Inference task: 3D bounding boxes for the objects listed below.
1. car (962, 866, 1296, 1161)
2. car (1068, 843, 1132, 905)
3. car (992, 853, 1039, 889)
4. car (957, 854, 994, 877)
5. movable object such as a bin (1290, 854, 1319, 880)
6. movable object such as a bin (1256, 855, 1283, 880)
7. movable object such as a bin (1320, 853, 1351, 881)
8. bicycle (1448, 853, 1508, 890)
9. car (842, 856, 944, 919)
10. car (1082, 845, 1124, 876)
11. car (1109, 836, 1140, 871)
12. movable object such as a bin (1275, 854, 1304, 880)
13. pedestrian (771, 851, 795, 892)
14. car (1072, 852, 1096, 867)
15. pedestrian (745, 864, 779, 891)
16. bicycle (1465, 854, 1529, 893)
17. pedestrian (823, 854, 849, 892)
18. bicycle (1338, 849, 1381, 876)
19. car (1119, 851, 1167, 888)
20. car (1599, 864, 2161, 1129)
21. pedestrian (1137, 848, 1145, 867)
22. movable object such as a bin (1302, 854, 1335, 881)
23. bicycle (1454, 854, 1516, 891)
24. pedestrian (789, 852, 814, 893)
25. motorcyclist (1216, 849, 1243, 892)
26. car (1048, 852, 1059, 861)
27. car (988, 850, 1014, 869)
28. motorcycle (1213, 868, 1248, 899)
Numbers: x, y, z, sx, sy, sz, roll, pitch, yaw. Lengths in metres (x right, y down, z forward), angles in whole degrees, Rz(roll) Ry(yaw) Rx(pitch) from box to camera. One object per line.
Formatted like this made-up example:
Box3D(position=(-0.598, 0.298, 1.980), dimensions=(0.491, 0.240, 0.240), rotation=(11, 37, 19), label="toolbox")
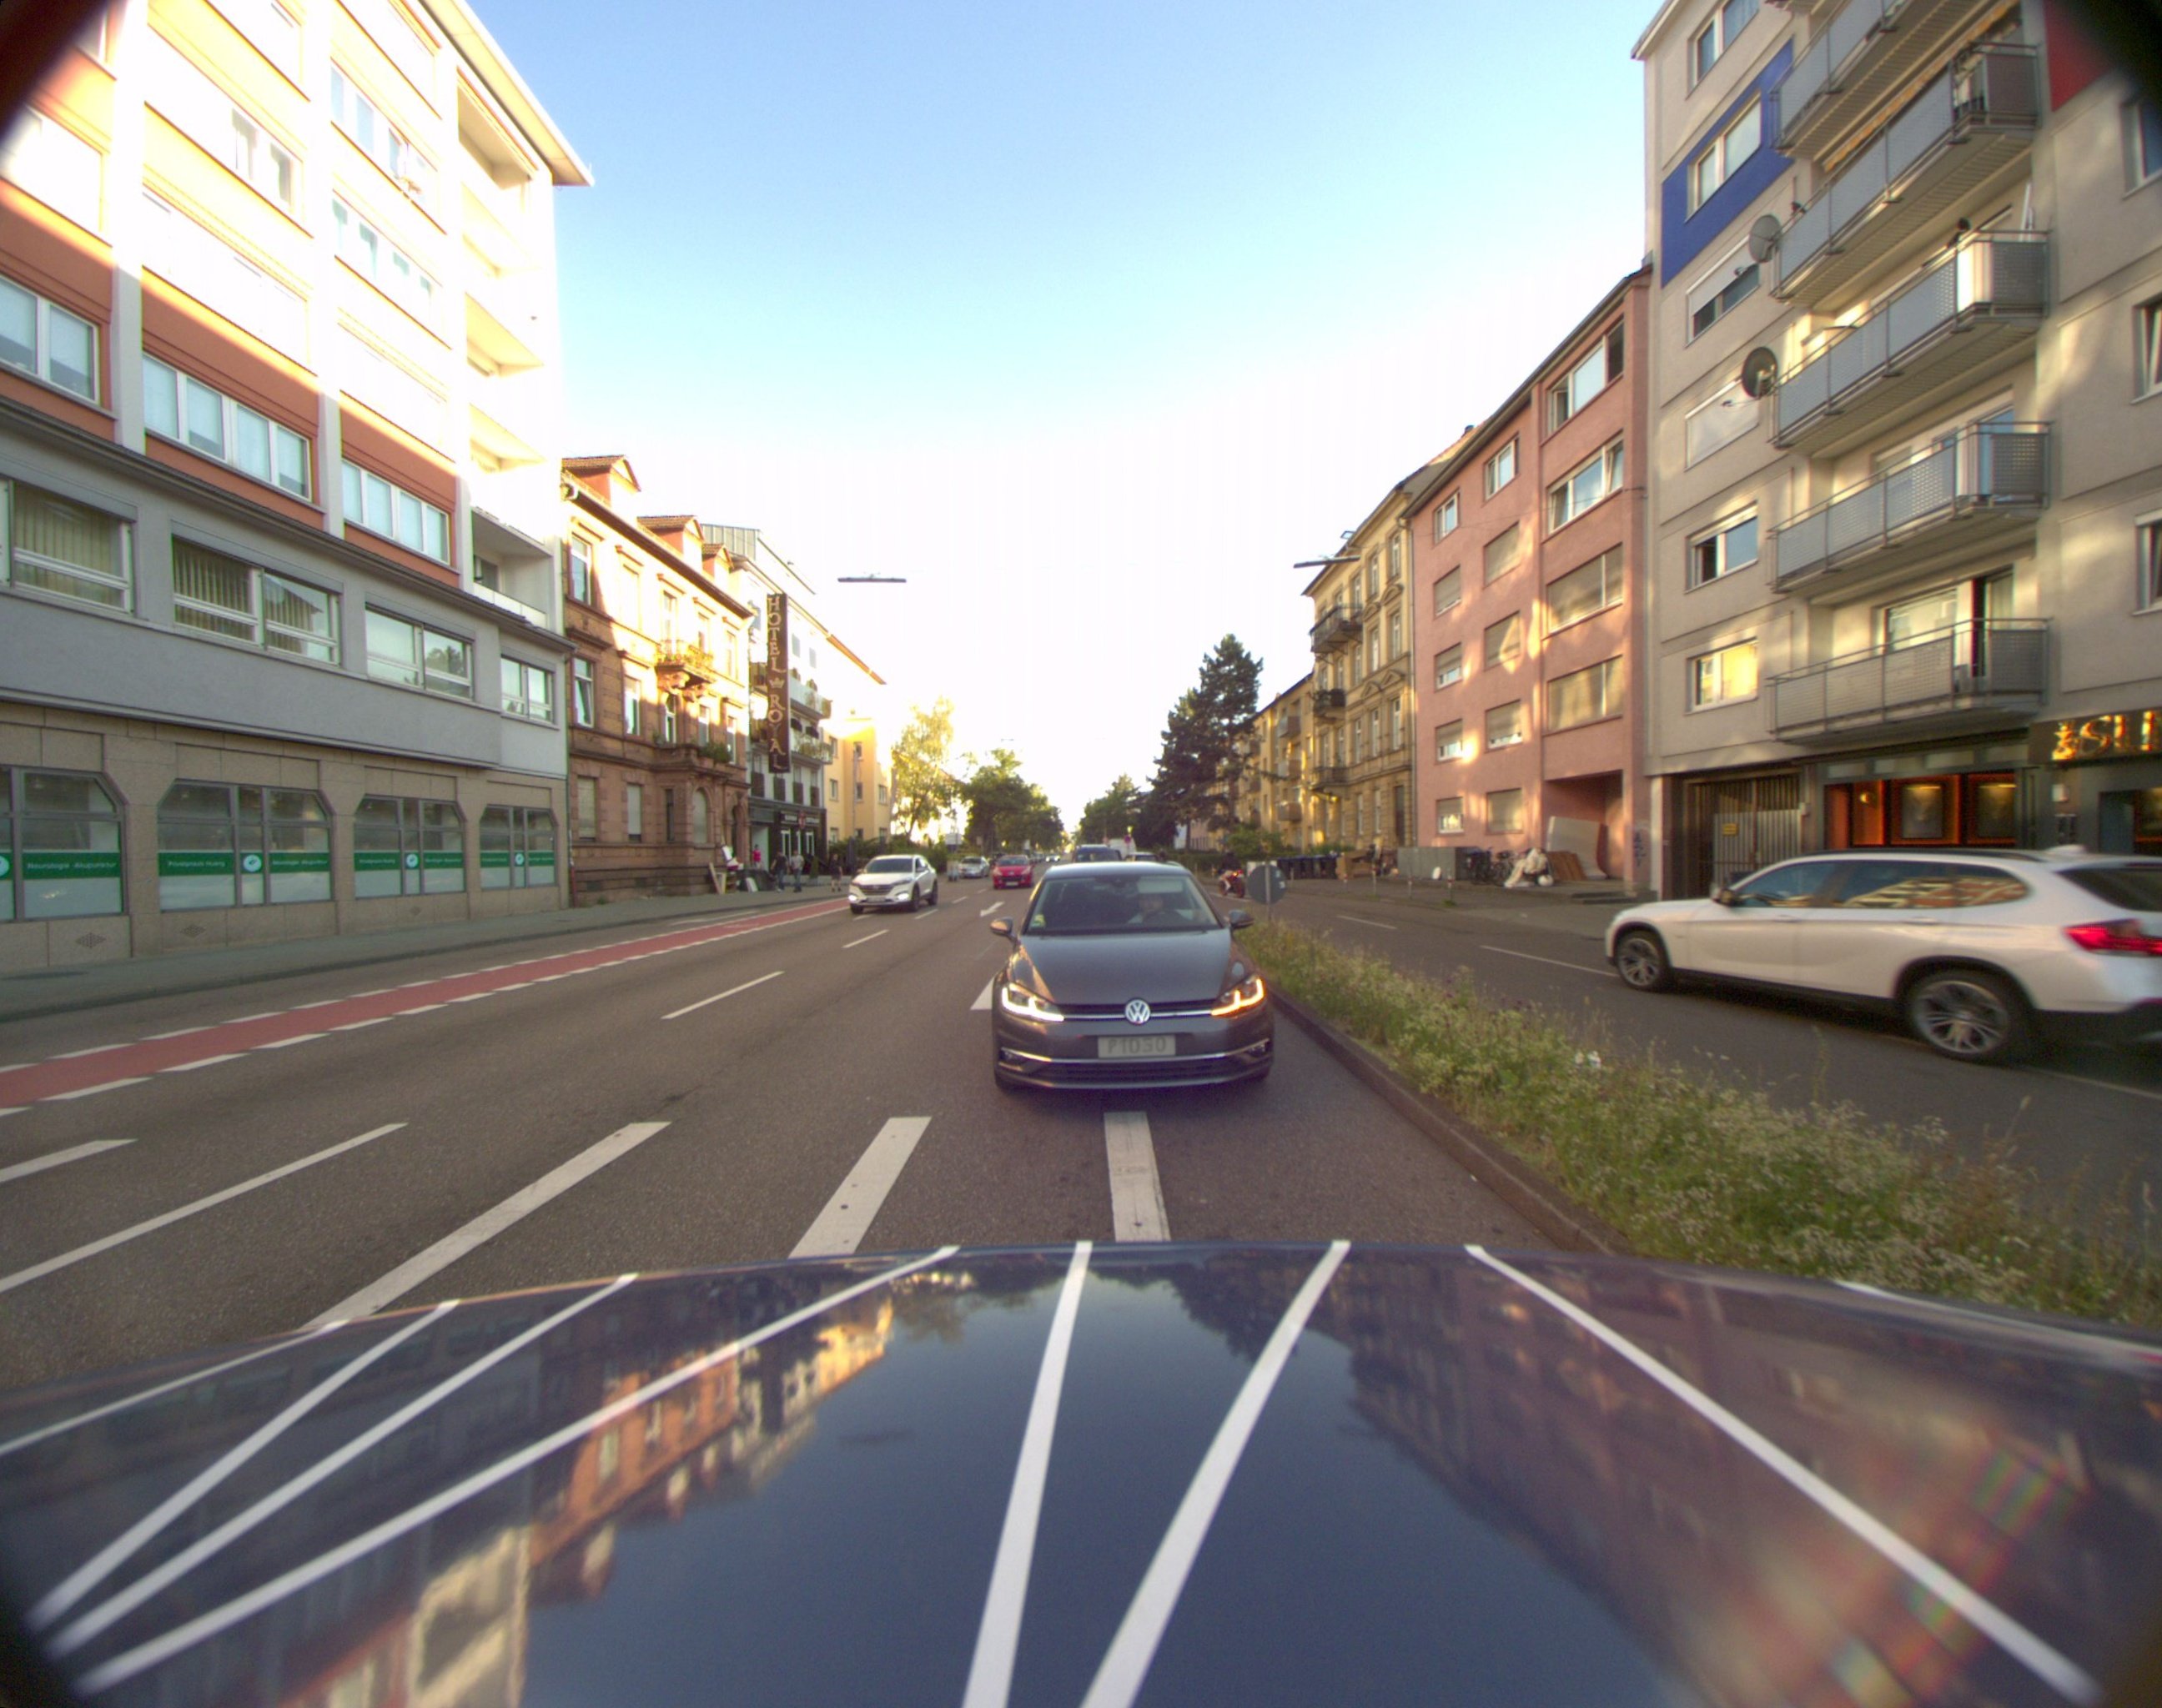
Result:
Box3D(position=(0.289, 0.910, 6.278), dimensions=(1.770, 1.450, 4.269), rotation=(-2, 0, 1), label="car")
Box3D(position=(0.569, 0.578, 25.051), dimensions=(1.895, 1.843, 4.466), rotation=(0, 0, 0), label="car")
Box3D(position=(-2.922, 0.727, 34.519), dimensions=(1.674, 1.454, 3.999), rotation=(-2, 1, 1), label="car")
Box3D(position=(-7.322, 0.769, 52.963), dimensions=(1.905, 1.508, 4.074), rotation=(-1, 0, 1), label="car")
Box3D(position=(10.832, 0.616, 36.838), dimensions=(1.196, 1.225, 0.847), rotation=(-2, 1, -40), label="movable object such as a bin")
Box3D(position=(9.439, 0.656, 38.038), dimensions=(0.847, 1.225, 1.196), rotation=(0, 1, 42), label="movable object such as a bin")
Box3D(position=(11.797, 0.598, 35.199), dimensions=(1.196, 1.225, 0.847), rotation=(-2, 1, -40), label="movable object such as a bin")
Box3D(position=(13.228, 0.584, 25.325), dimensions=(1.780, 1.184, 0.473), rotation=(-1, 1, -2), label="bicycle")
Box3D(position=(-5.568, 0.920, 23.044), dimensions=(1.921, 1.598, 4.269), rotation=(-2, 1, 1), label="car")
Box3D(position=(1.297, 0.379, 47.269), dimensions=(1.896, 1.843, 4.697), rotation=(0, 0, -7), label="car")
Box3D(position=(3.458, -0.058, 61.102), dimensions=(2.136, 2.740, 4.465), rotation=(0, 1, 0), label="car")
Box3D(position=(10.303, 0.628, 37.543), dimensions=(1.196, 1.225, 0.847), rotation=(-2, 1, -40), label="movable object such as a bin")
Box3D(position=(-12.679, 0.746, 32.357), dimensions=(0.668, 1.716, 1.010), rotation=(-1, 1, -5), label="pedestrian")
Box3D(position=(0.235, 0.480, 69.365), dimensions=(1.896, 1.382, 4.266), rotation=(0, 0, -4), label="car")
Box3D(position=(-13.744, 1.002, 32.768), dimensions=(1.100, 1.129, 0.924), rotation=(-1, 1, -2), label="pedestrian")
Box3D(position=(13.127, 0.596, 24.012), dimensions=(1.780, 1.184, 0.473), rotation=(-1, 1, -2), label="bicycle")
Box3D(position=(-10.625, 0.819, 32.993), dimensions=(0.738, 1.593, 1.011), rotation=(2, 1, 4), label="pedestrian")
Box3D(position=(12.714, 0.391, 34.714), dimensions=(1.780, 1.184, 0.473), rotation=(-1, 1, -2), label="bicycle")
Box3D(position=(2.712, 0.658, 33.934), dimensions=(1.596, 1.533, 3.402), rotation=(0, 1, -5), label="car")
Box3D(position=(6.946, 0.852, 6.589), dimensions=(1.758, 1.479, 4.246), rotation=(0, 0, -5), label="car")
Box3D(position=(5.039, 0.299, 63.644), dimensions=(0.577, 1.591, 0.481), rotation=(-1, 1, 1), label="pedestrian")
Box3D(position=(11.224, 0.609, 35.944), dimensions=(1.295, 1.225, 0.926), rotation=(-2, 1, -40), label="movable object such as a bin")
Box3D(position=(13.148, 0.594, 24.746), dimensions=(1.780, 1.184, 0.473), rotation=(-1, 1, -2), label="bicycle")
Box3D(position=(-11.921, 0.758, 32.418), dimensions=(0.668, 1.716, 1.011), rotation=(-1, 1, -3), label="pedestrian")
Box3D(position=(5.056, 0.559, 25.906), dimensions=(0.750, 1.433, 0.958), rotation=(0, 1, -1), label="motorcyclist")
Box3D(position=(-4.744, 0.453, 131.659), dimensions=(1.907, 1.532, 3.999), rotation=(-1, 1, 0), label="car")
Box3D(position=(-7.199, 0.477, 68.757), dimensions=(1.947, 1.615, 4.193), rotation=(-1, 0, 0), label="car")
Box3D(position=(5.073, 0.991, 25.922), dimensions=(0.750, 0.957, 2.048), rotation=(0, 0, -1), label="motorcycle")
